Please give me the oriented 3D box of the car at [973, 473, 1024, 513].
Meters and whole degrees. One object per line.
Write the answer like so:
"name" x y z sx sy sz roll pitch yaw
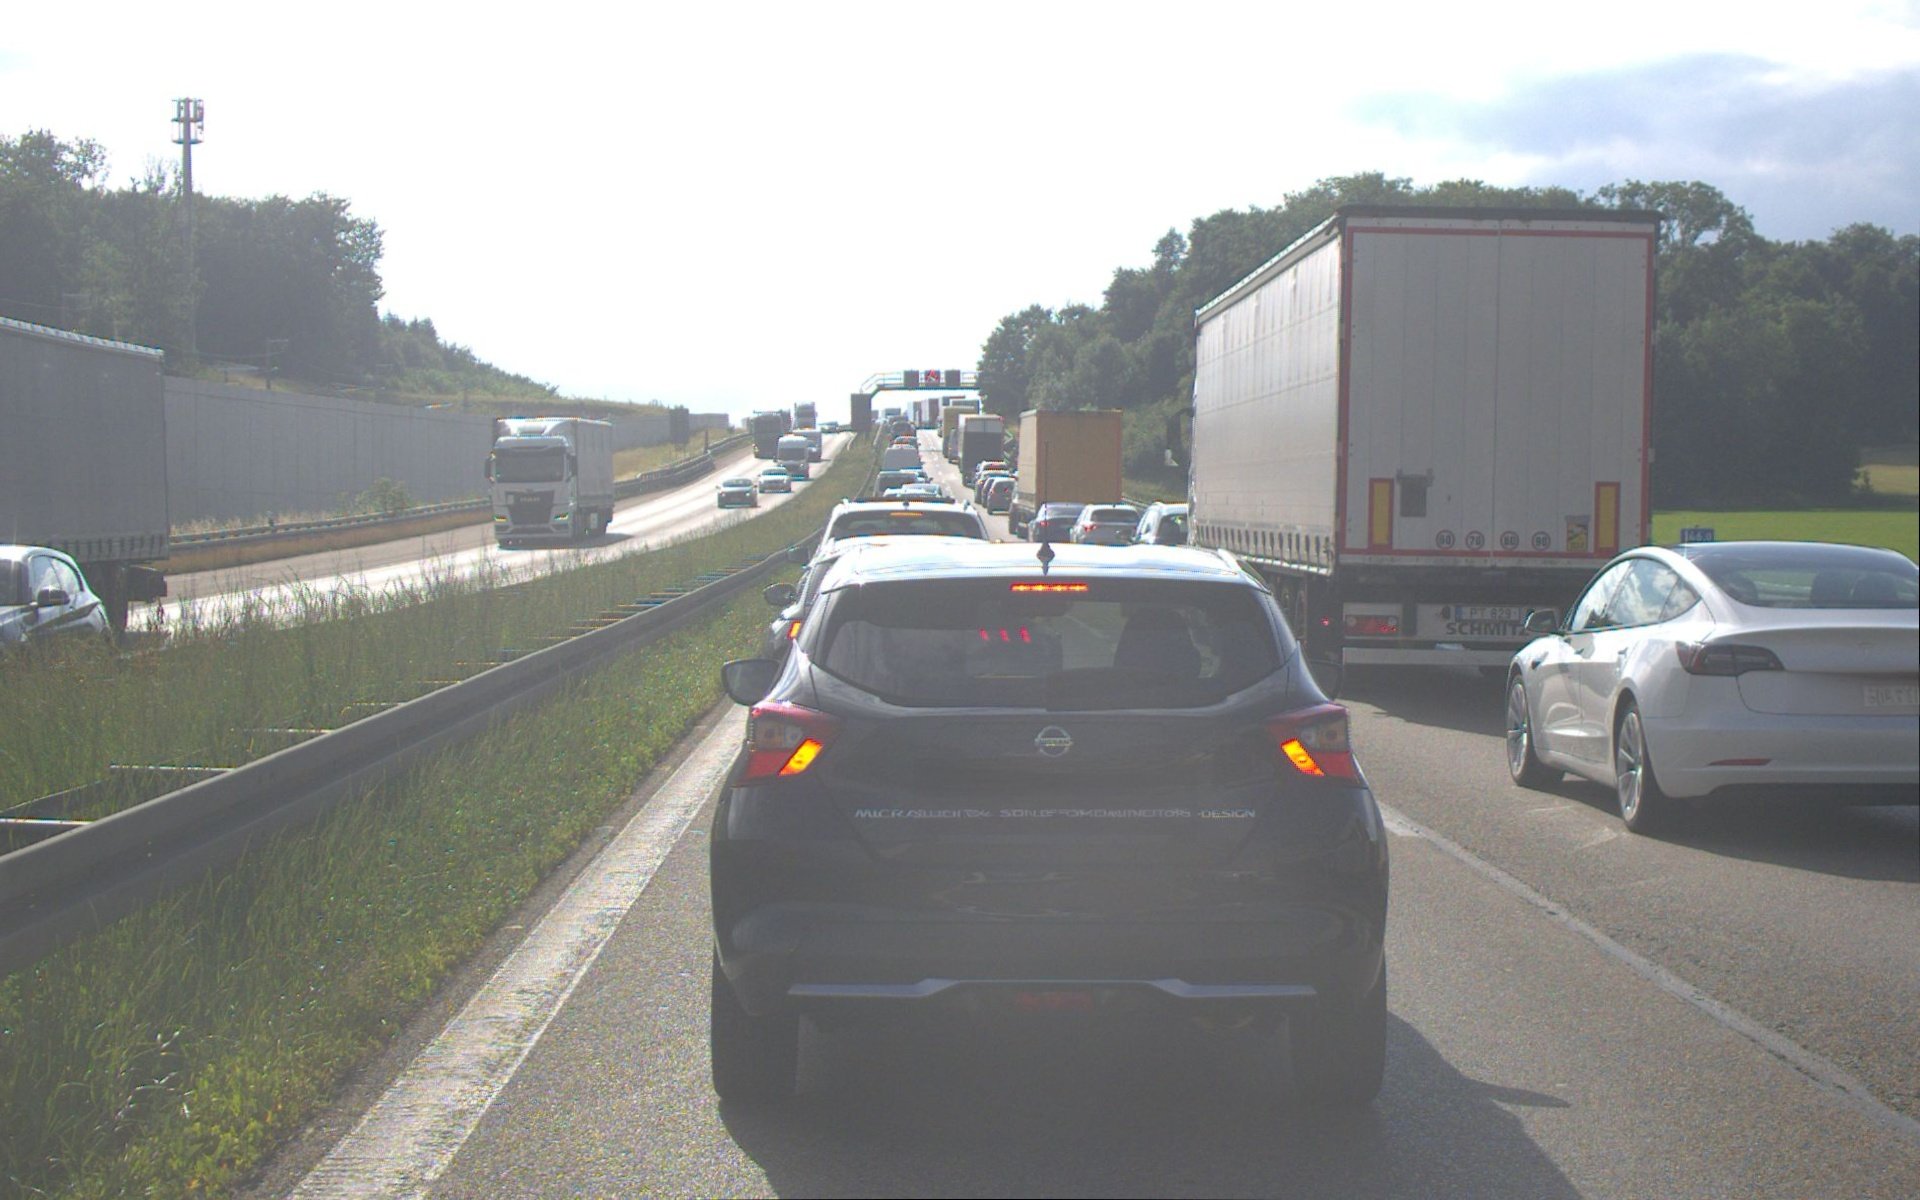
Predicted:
"car" 1.658 -4.667 149.626 1.873 1.638 4.233 0 3 -4

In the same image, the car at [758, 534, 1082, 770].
"car" -0.253 0.263 22.027 1.873 1.353 4.232 0 1 -1

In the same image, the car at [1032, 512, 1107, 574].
"car" 2.970 -1.575 94.027 1.873 1.638 4.233 0 2 -1

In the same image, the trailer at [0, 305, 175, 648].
"trailer" -12.658 -1.499 43.164 2.683 4.024 13.793 -1 1 -1

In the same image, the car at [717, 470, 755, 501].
"car" -10.842 -5.518 166.448 1.651 1.446 3.957 0 1 -1

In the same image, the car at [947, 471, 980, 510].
"car" 0.191 -6.588 206.980 1.873 2.151 5.212 0 4 -1

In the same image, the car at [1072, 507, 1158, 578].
"car" 3.785 -1.430 84.463 1.873 1.638 4.233 0 2 -1

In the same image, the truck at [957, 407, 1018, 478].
"truck" 1.808 -10.624 232.285 3.464 4.561 12.443 1 2 -2

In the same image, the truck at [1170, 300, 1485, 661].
"truck" 4.261 -1.358 41.006 3.133 4.002 5.164 1 0 0

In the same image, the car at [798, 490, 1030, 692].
"car" -0.397 -0.117 29.984 1.873 1.638 4.232 0 1 -1

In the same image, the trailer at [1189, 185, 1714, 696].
"trailer" 4.323 -1.299 33.795 3.130 3.997 13.367 1 0 0

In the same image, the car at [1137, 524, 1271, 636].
"car" 3.594 -0.332 51.257 1.697 1.605 4.437 0 1 0

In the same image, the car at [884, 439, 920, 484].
"car" -3.001 -7.188 177.934 1.873 2.151 5.212 0 4 -1

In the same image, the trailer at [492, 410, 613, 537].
"trailer" -13.967 -4.262 118.887 2.790 4.063 13.522 -2 1 -1

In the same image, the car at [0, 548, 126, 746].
"car" -7.725 0.313 26.661 1.633 1.396 3.897 0 1 -1

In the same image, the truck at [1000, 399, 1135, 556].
"truck" 3.230 -3.688 107.371 3.296 4.561 12.442 1 1 -2

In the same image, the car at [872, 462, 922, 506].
"car" -2.460 -4.549 134.061 1.873 1.638 4.233 0 3 -2

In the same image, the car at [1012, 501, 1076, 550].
"car" 2.853 -2.579 117.804 1.873 1.638 4.233 0 2 -3

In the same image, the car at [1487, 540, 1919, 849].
"car" 4.080 0.401 18.152 1.788 1.389 4.437 0 1 -2

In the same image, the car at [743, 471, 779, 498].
"car" -11.357 -6.606 196.633 1.873 1.446 4.232 0 1 -1

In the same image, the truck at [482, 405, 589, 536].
"truck" -13.788 -4.165 111.985 2.776 4.074 5.532 -2 1 -1

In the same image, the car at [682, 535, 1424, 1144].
"car" 0.200 0.533 10.348 1.773 1.446 4.232 0 1 -1

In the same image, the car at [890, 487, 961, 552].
"car" -0.940 -2.181 92.621 1.873 1.638 4.233 0 3 -1
